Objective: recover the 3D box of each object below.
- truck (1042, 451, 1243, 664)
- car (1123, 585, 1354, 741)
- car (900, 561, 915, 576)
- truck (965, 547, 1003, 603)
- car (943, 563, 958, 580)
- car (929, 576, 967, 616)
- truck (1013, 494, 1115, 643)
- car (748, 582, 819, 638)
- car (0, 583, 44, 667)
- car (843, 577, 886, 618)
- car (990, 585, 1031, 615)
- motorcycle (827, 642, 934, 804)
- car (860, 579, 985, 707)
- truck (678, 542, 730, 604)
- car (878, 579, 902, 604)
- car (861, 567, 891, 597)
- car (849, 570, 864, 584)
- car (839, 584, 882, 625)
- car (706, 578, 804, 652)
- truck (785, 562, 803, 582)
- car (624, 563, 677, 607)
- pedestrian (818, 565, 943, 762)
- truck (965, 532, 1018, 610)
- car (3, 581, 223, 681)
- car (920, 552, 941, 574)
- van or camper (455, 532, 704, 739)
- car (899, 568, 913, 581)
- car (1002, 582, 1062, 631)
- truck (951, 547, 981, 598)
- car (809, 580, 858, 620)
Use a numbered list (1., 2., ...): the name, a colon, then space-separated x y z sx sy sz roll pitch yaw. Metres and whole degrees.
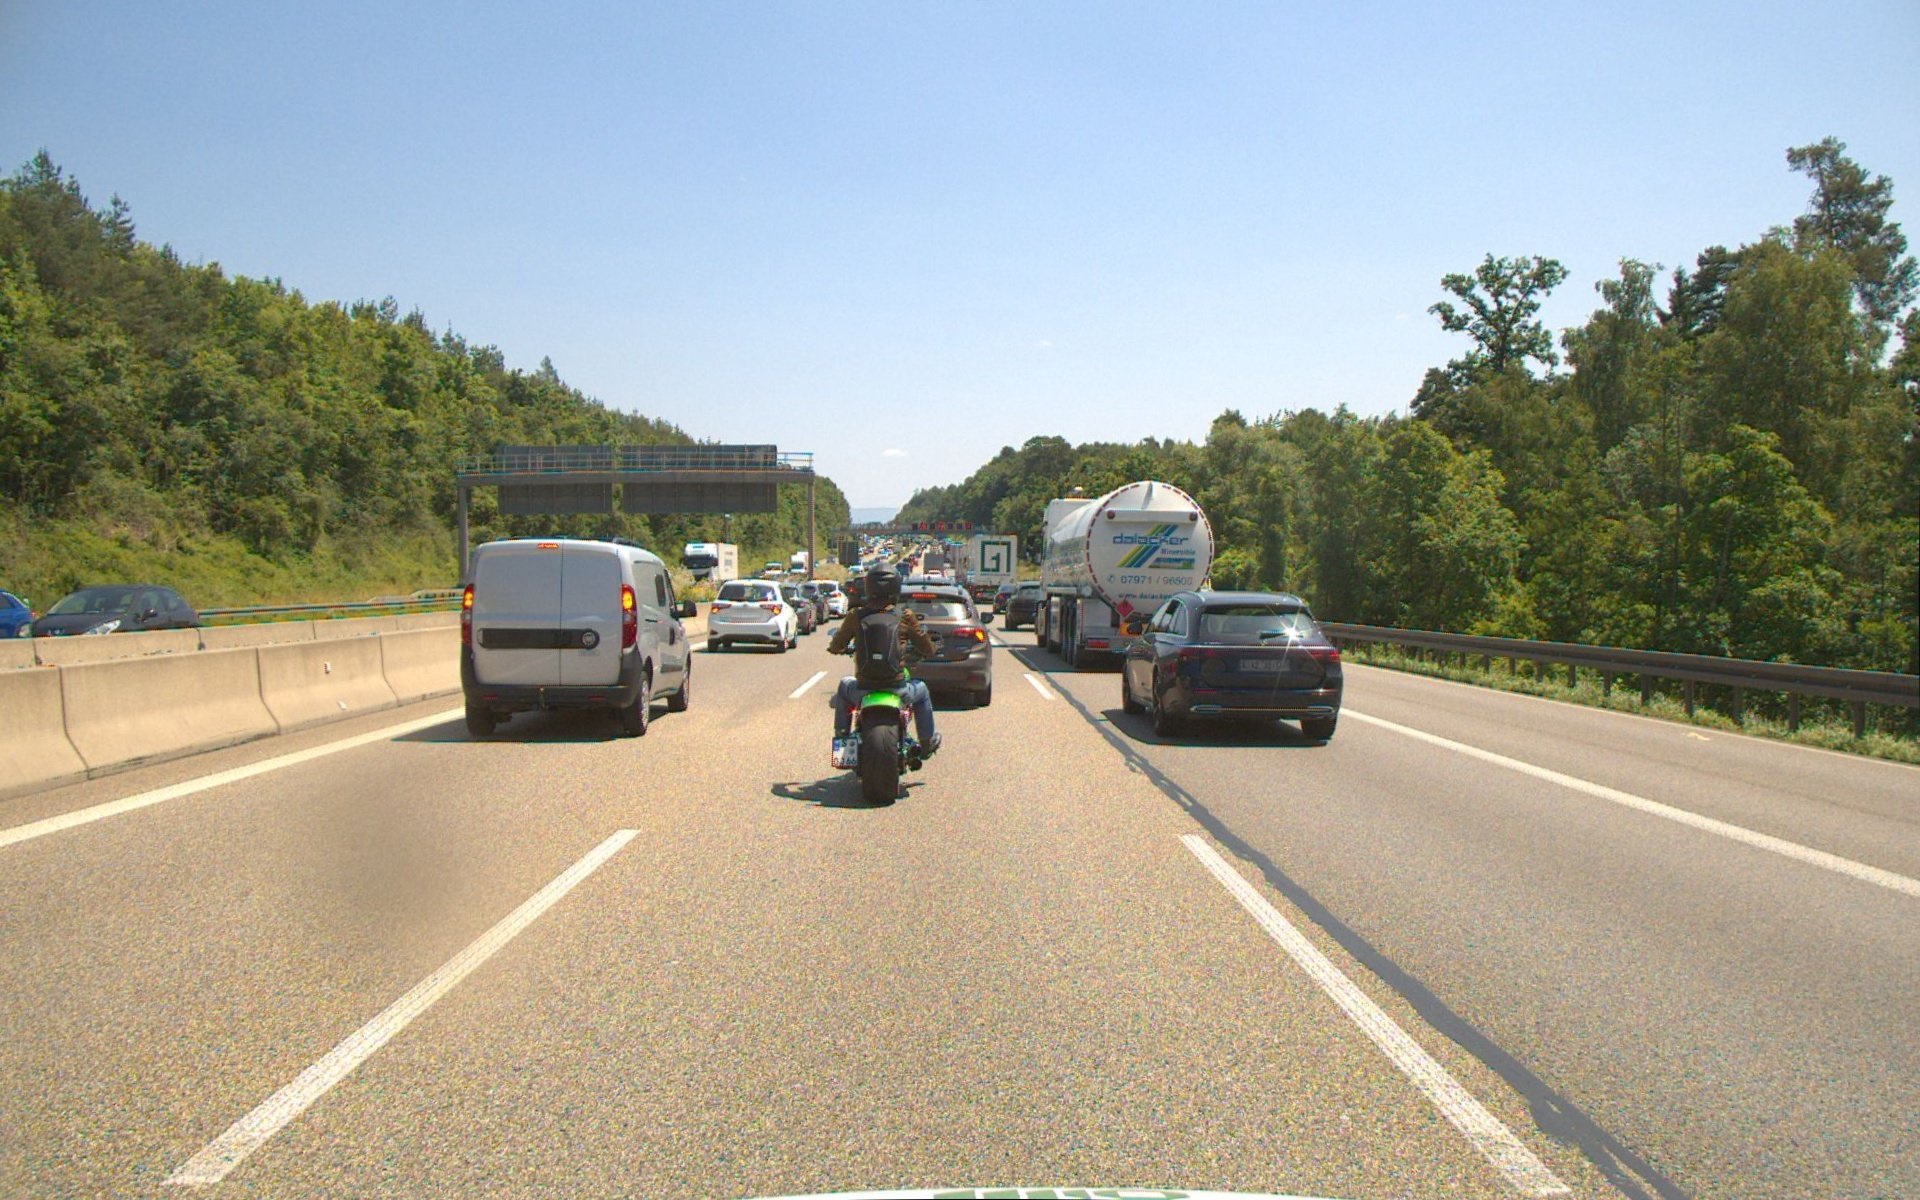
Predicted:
1. truck: 3.460 -0.723 33.887 2.927 3.736 9.285 -1 0 -1
2. car: 2.892 0.596 17.985 1.791 1.496 3.999 0 0 -1
3. car: -7.059 -4.252 223.498 1.953 2.049 3.999 -1 0 -1
4. truck: 2.015 -2.099 142.552 2.971 4.622 9.981 1 0 -1
5. car: -1.323 -3.853 222.343 1.953 2.049 3.999 -3 0 -1
6. car: -0.684 -0.207 91.263 1.953 2.049 3.999 -3 0 -1
7. truck: 2.623 -0.751 42.811 1.954 3.584 4.748 -2 -1 -3
8. car: -5.034 0.257 47.538 1.665 1.504 3.999 -1 0 -1
9. car: -19.564 0.503 31.678 1.842 1.621 3.999 -1 0 -1
10. car: -4.527 -0.115 78.861 1.842 1.892 4.000 0 0 -1
11. car: 2.344 -0.023 78.168 1.751 1.398 3.803 -1 0 -1
12. motorcycle: -0.554 0.859 12.265 0.677 1.033 2.121 0 0 0
13. car: -0.503 0.515 21.829 1.502 1.536 3.999 0 0 -2
14. truck: -20.601 -2.162 133.706 2.709 4.823 10.470 -1 0 -1
15. car: -6.297 -0.759 148.558 1.953 2.049 3.999 -3 0 -1
16. car: -5.994 -1.277 118.886 1.890 2.049 3.999 -3 0 0
17. car: -14.827 -3.267 237.823 1.953 2.049 3.999 -1 0 -1
18. car: -5.205 0.242 87.161 1.953 2.049 3.999 -3 0 0
19. car: -4.398 0.283 35.984 1.665 1.504 3.999 -1 0 -1
20. truck: -22.273 -3.753 221.395 1.953 2.544 3.999 -3 -1 -1
21. car: -15.855 -0.746 84.934 1.842 2.048 4.467 -3 0 -1
22. pedestrian: -0.576 0.454 12.371 0.832 1.385 0.961 -2 0 0
23. truck: 1.894 -1.773 103.575 2.971 4.622 9.981 1 0 -1
24. car: -14.778 0.483 29.124 1.842 1.621 3.999 -1 0 -1
25. car: -3.551 -4.454 199.688 2.453 2.632 5.015 -1 0 -1
26. van or camper: -3.873 0.346 17.524 1.759 1.925 4.159 0 0 -1
27. car: -8.059 -3.803 247.018 1.953 2.049 3.999 0 0 -1
28. car: 2.383 0.196 55.427 1.751 1.583 3.803 -1 0 -1
29. truck: 0.610 -2.839 175.352 2.971 5.229 9.981 1 0 -1
30. car: -4.986 -0.013 65.705 1.665 1.504 3.999 -1 0 -1
